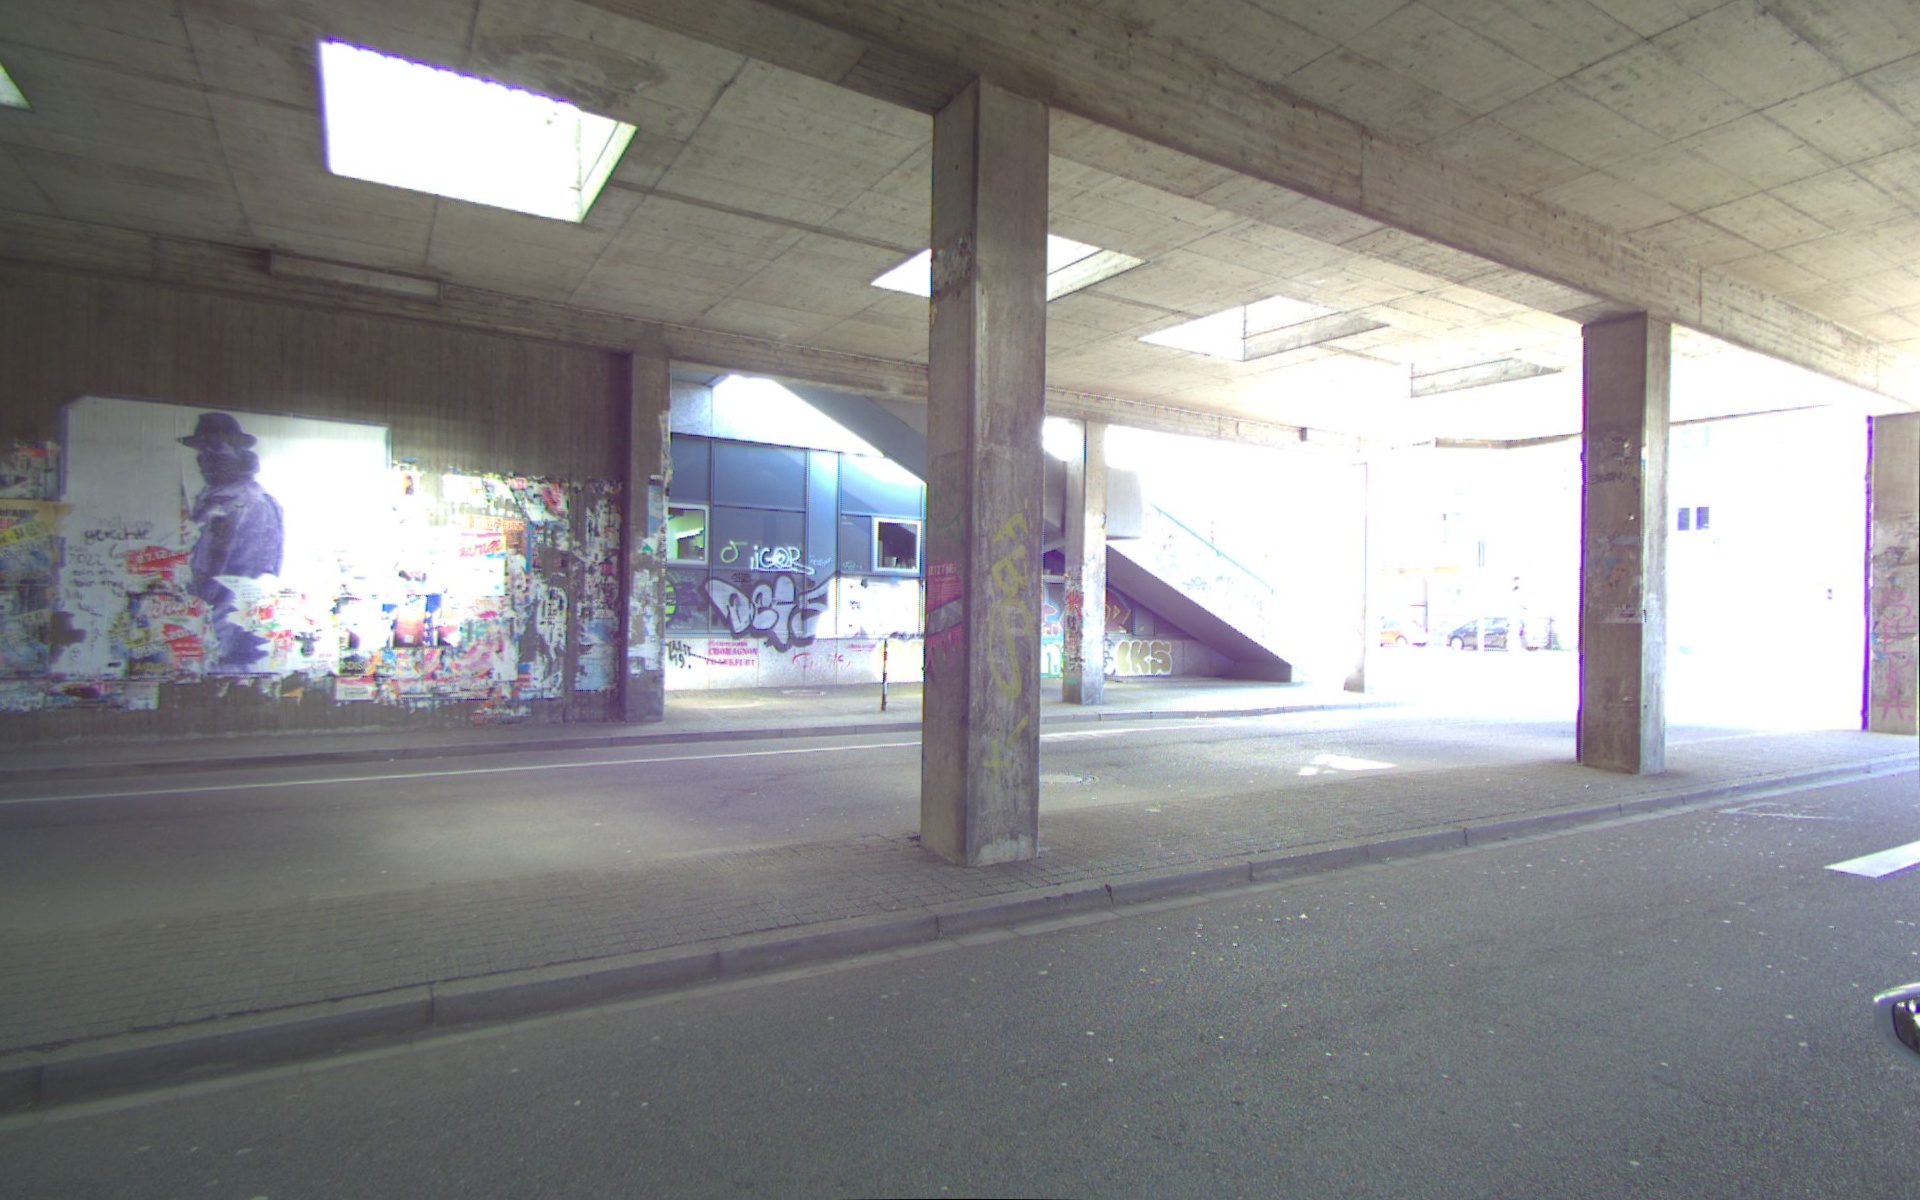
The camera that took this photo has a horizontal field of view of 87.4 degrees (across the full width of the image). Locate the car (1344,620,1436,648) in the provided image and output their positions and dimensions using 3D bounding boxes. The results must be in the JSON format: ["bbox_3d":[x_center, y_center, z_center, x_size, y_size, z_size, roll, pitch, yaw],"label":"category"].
[{"bbox_3d":[22.475,1.768,52.658,2.163,1.392,3.971,1,-1,-28],"label":"car"}]

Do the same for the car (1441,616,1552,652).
[{"bbox_3d":[25.397,1.580,47.648,2.240,1.571,4.111,1,-1,-29],"label":"car"}]
